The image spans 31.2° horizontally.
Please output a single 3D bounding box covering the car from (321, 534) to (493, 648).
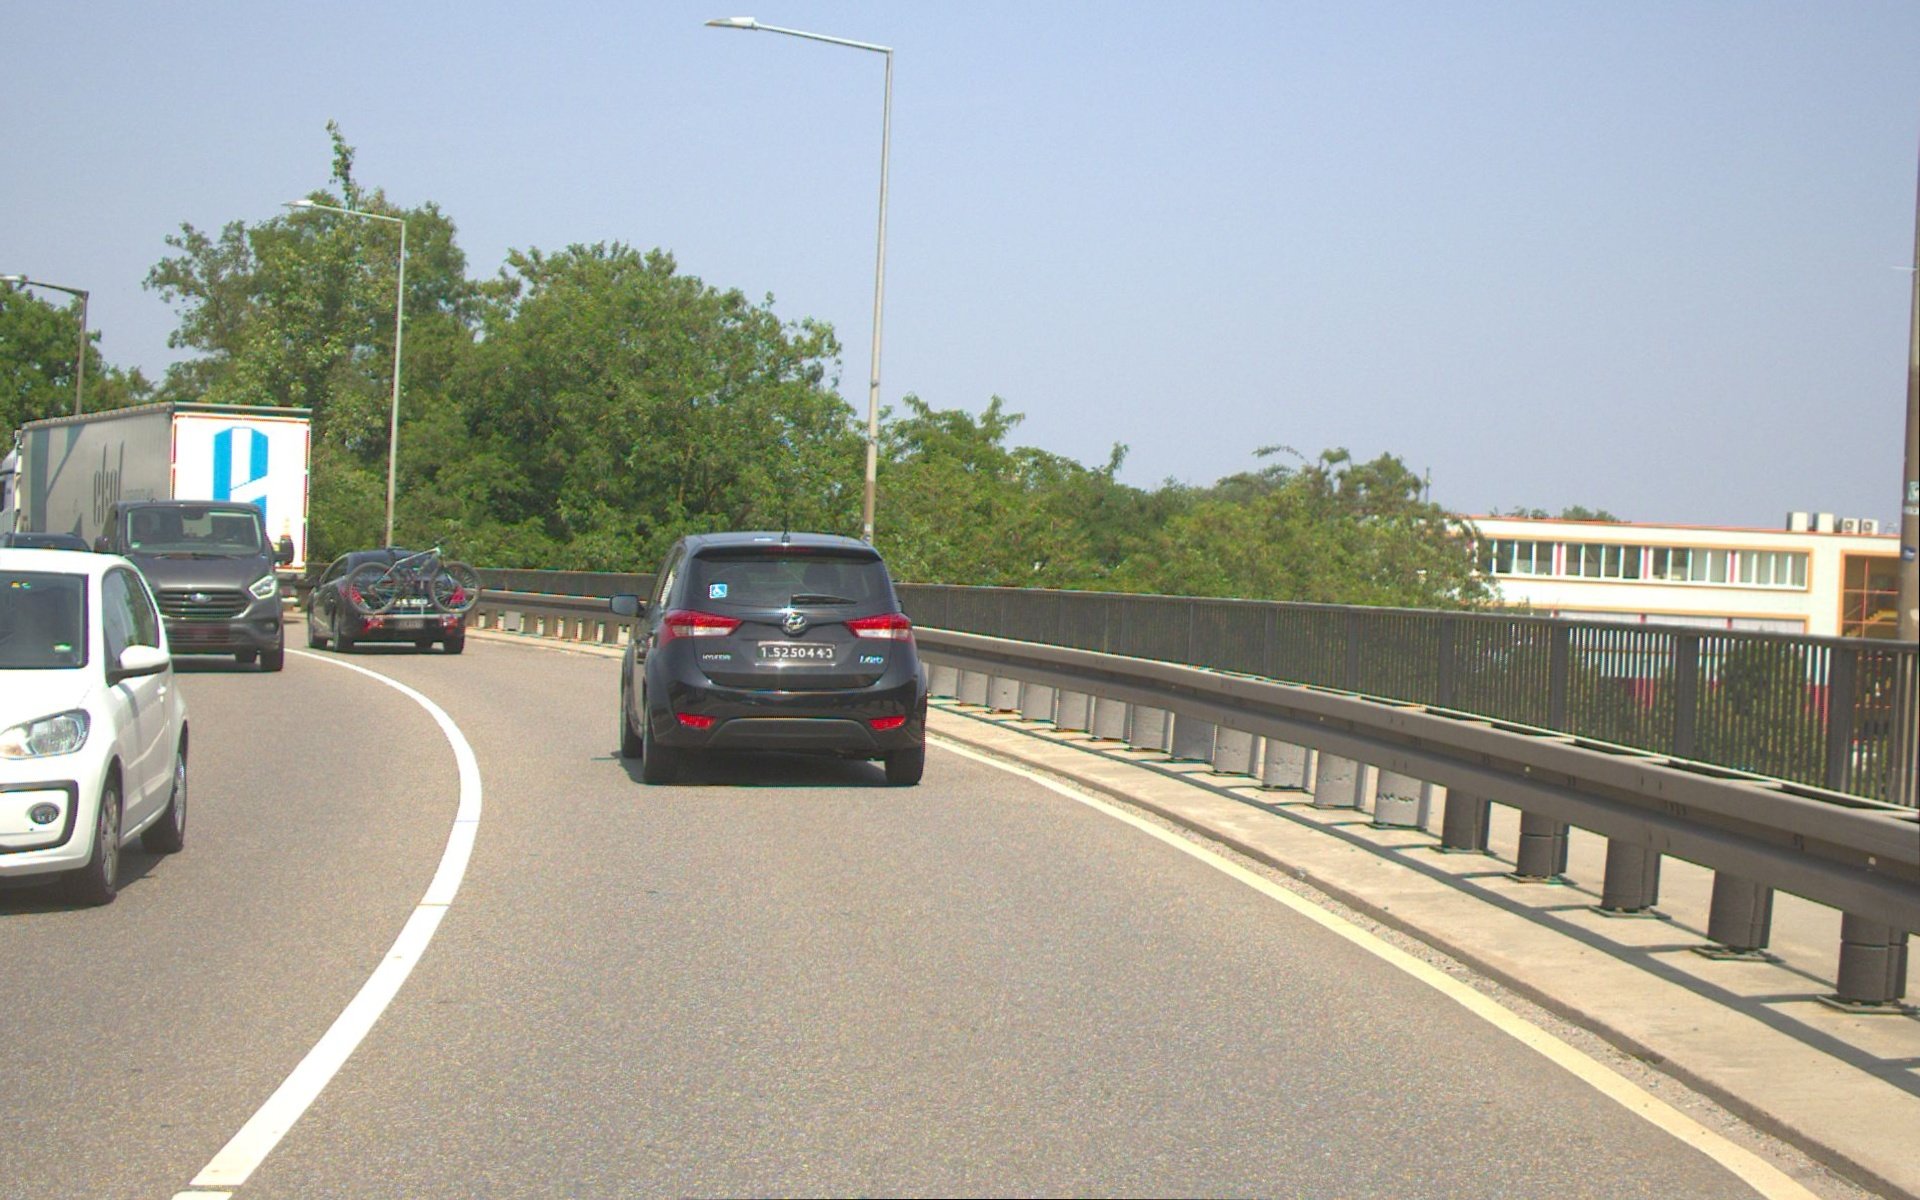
[{"bbox_3d":[-7.649,-0.155,47.280,2.011,1.424,3.778,1,2,-14],"label":"car"}]

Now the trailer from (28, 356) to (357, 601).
[{"bbox_3d":[-15.255,-2.369,67.412,3.569,4.369,11.443,0,2,-27],"label":"trailer"}]

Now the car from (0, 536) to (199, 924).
[{"bbox_3d":[-4.382,0.470,15.084,1.664,1.459,3.487,1,2,-7],"label":"car"}]

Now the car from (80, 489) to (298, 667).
[{"bbox_3d":[-9.183,-0.268,40.638,2.006,1.952,5.273,0,1,-18],"label":"car"}]

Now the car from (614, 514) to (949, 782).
[{"bbox_3d":[-1.269,0.247,22.668,1.921,1.568,3.892,1,2,-7],"label":"car"}]

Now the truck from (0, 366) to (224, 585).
[{"bbox_3d":[-18.395,-2.640,73.639,3.572,4.425,6.517,0,2,-27],"label":"truck"}]
